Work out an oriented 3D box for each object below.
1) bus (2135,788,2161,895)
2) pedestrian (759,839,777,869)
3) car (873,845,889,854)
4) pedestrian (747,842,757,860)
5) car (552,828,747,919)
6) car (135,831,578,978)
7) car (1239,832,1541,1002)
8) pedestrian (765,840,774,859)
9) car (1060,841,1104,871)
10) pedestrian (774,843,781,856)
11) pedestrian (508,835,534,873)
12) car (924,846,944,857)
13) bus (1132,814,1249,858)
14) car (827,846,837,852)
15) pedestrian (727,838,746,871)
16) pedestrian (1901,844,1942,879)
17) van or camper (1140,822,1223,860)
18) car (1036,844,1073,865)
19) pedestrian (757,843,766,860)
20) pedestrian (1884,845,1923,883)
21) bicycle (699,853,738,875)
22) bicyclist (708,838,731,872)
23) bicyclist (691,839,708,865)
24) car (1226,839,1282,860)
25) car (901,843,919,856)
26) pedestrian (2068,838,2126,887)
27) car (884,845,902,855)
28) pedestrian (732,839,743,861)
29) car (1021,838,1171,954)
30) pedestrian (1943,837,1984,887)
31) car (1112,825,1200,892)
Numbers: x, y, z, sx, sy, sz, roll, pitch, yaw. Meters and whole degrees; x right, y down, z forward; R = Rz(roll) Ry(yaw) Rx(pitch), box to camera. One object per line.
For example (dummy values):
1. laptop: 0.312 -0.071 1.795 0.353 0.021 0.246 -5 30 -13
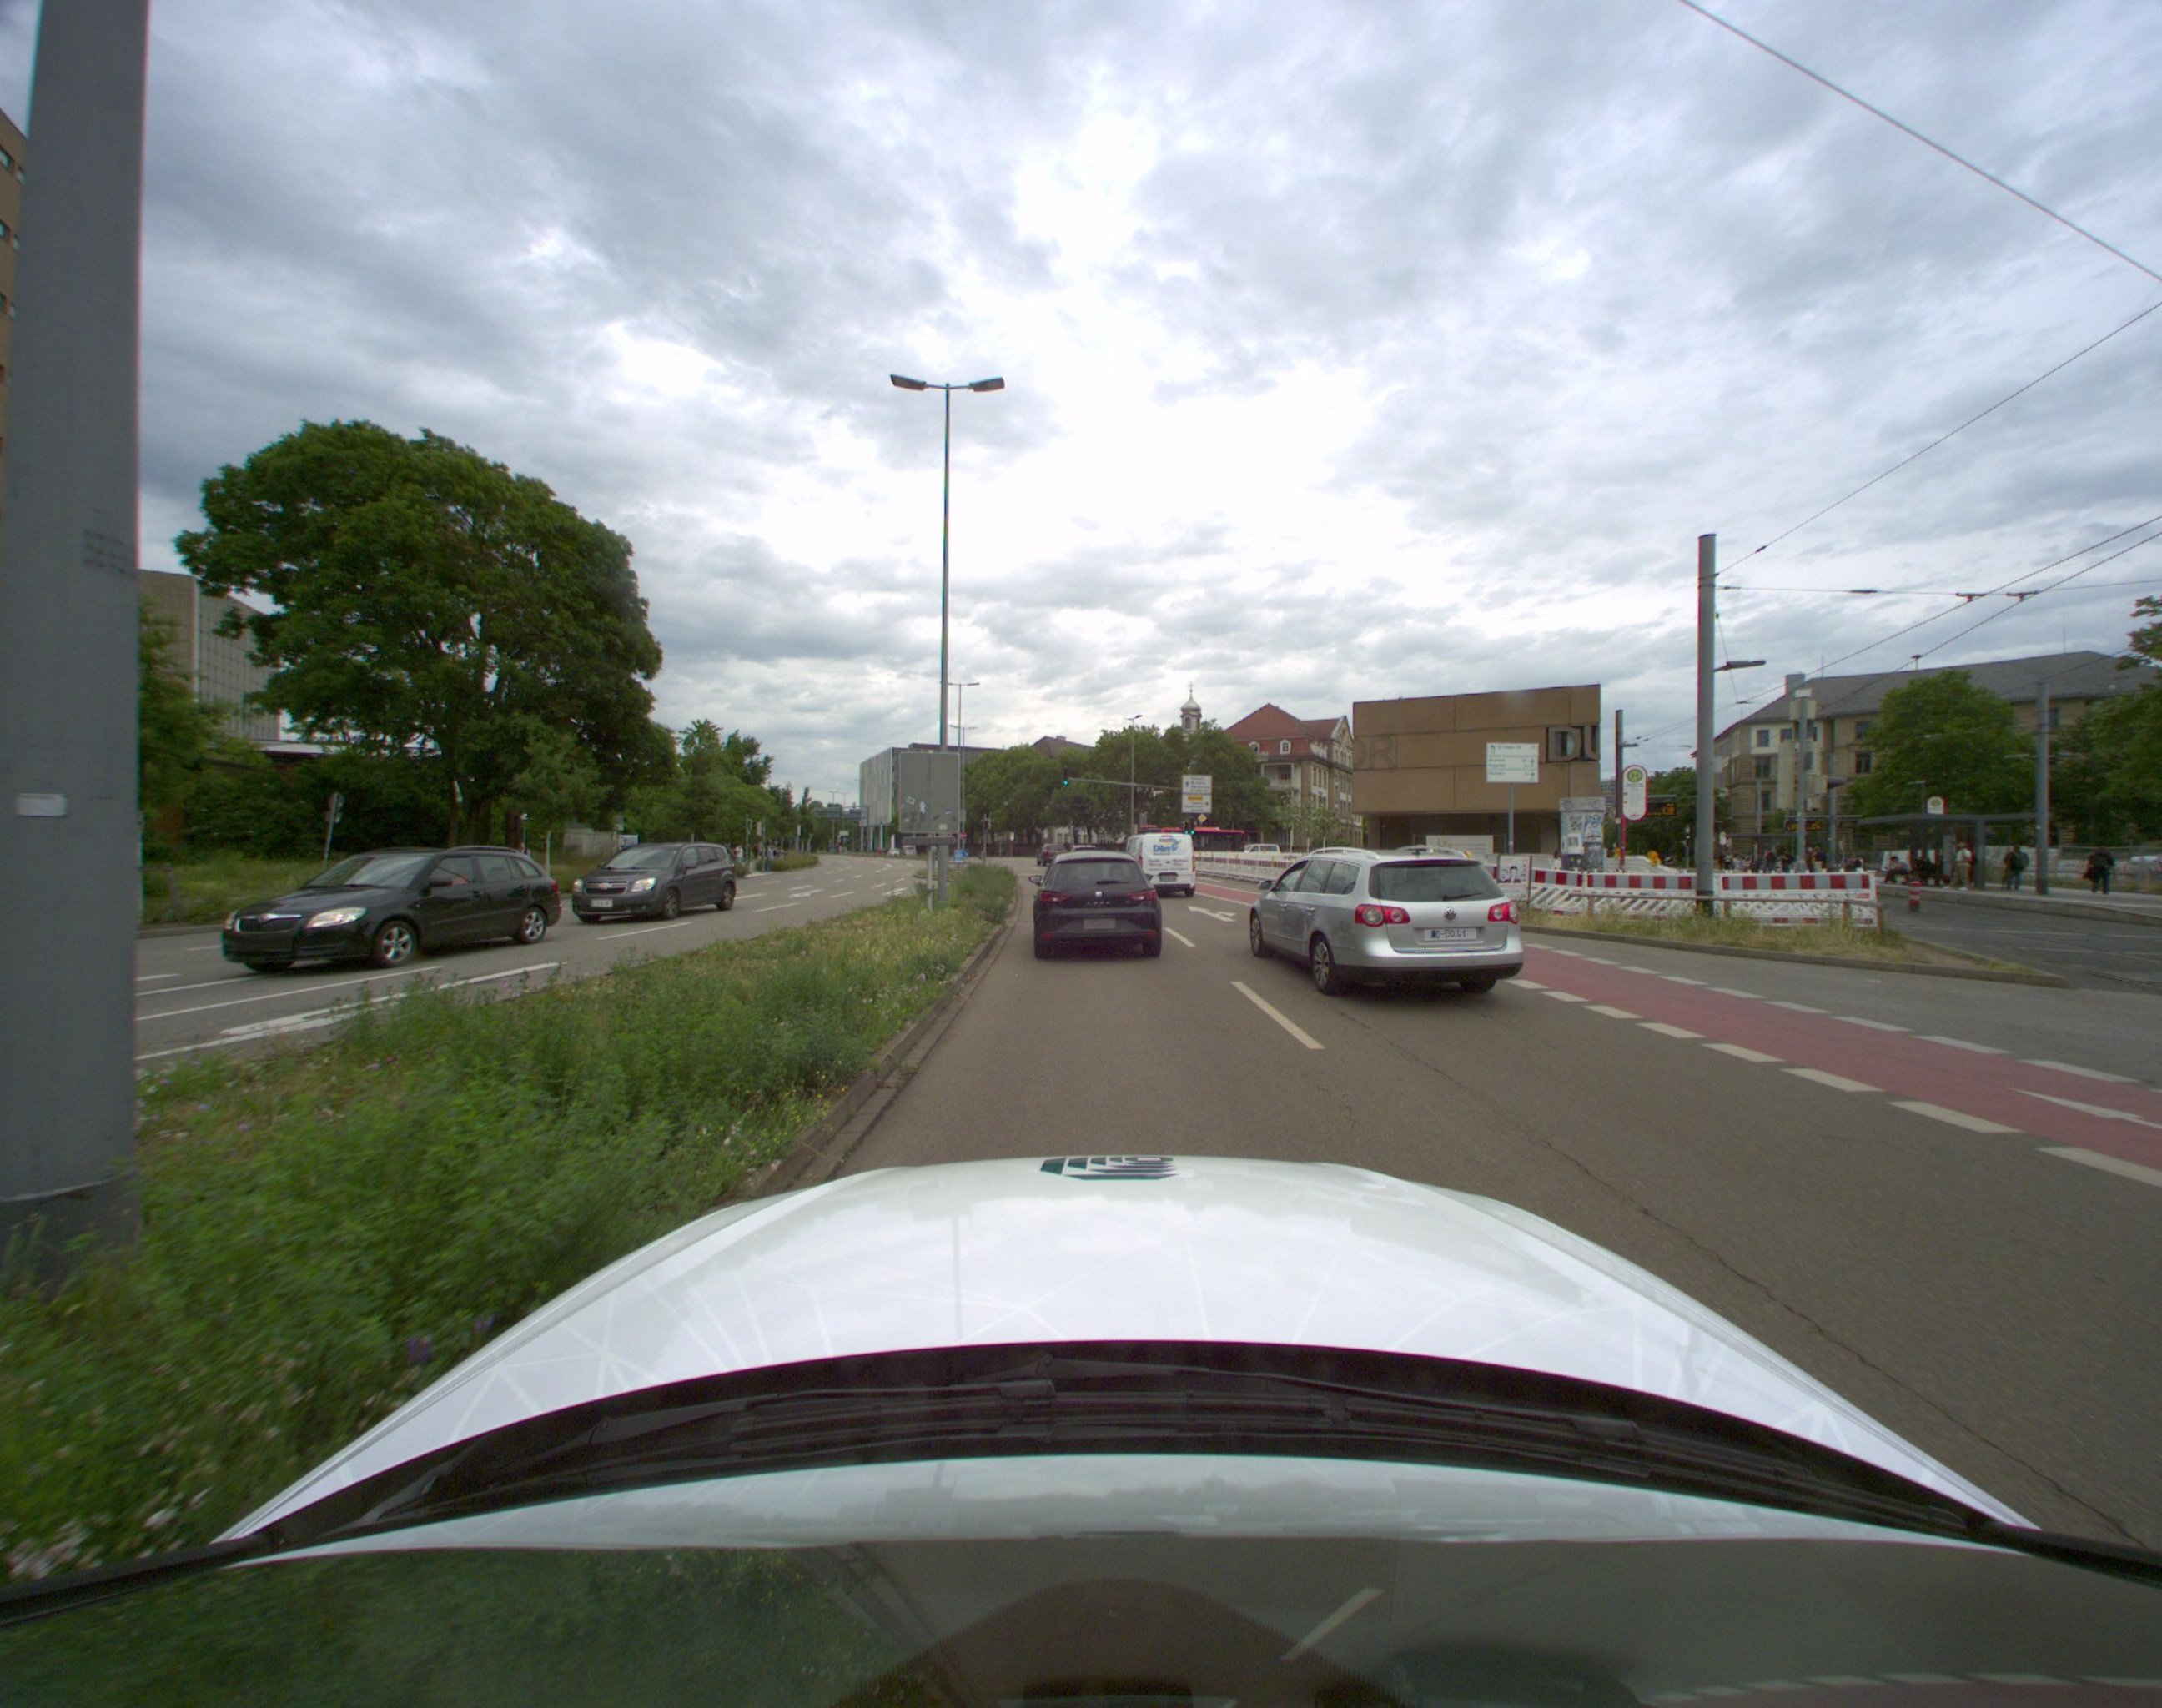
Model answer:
1. bus: 31.537 -0.352 19.661 2.987 3.267 13.125 0 0 32
2. pedestrian: -19.334 -0.012 50.358 0.891 1.842 0.666 0 0 -4
3. car: -37.031 -0.776 150.821 2.005 1.681 3.976 0 0 -27
4. pedestrian: -34.129 -0.308 84.470 0.755 1.765 0.902 0 0 -13
5. car: -9.319 0.362 18.112 1.865 1.725 4.710 -1 0 -1
6. car: -9.159 0.522 10.979 1.864 1.508 4.479 -2 0 1
7. car: 3.213 0.535 9.581 1.715 1.482 4.626 -1 1 -1
8. pedestrian: -33.735 -0.511 88.151 0.755 2.013 1.042 0 0 -13
9. car: 0.011 0.069 45.915 1.857 1.600 4.192 0 0 -9
10. pedestrian: -41.522 -0.617 111.509 0.921 1.779 1.057 0 0 -21
11. pedestrian: -23.051 -0.014 33.558 0.560 1.541 0.754 0 0 -4
12. car: -21.961 -0.401 121.599 1.927 1.684 3.966 0 1 -26
13. bus: 9.206 -1.335 66.596 3.029 3.297 12.455 1 0 41
14. car: -56.910 -1.169 186.267 1.719 1.265 3.313 0 0 -24
15. pedestrian: -19.869 0.020 46.923 0.755 1.842 0.765 -1 0 -4
16. pedestrian: 34.071 0.290 33.030 1.008 1.402 1.014 0 0 35
17. van or camper: 9.169 -1.110 74.198 7.164 3.332 2.853 0 -1 -25
18. car: -2.032 0.020 61.305 1.995 1.566 4.187 0 0 -13
19. pedestrian: -33.260 -0.236 84.783 0.755 1.712 1.042 0 0 -13
20. pedestrian: 35.093 0.415 34.764 1.008 1.575 1.014 0 0 34
21. bicycle: -19.839 0.514 44.623 0.782 1.159 1.918 0 0 26
22. bicyclist: -19.826 0.044 44.683 0.783 1.844 0.839 0 0 26
23. bicyclist: -23.123 -0.117 49.378 0.714 1.570 0.711 0 0 -5
24. car: 16.533 -0.431 77.644 5.013 1.865 1.983 0 -3 -25
25. car: -26.647 -0.759 126.654 2.003 2.013 3.967 0 0 -25
26. pedestrian: 35.032 0.287 28.100 0.994 1.645 1.027 0 0 35
27. car: -31.686 -0.648 137.171 2.004 1.640 3.965 0 0 -27
28. pedestrian: -31.158 -0.341 73.875 0.755 2.013 1.042 0 0 -13
29. car: 0.061 0.527 12.351 1.744 1.464 3.990 0 0 -7
30. pedestrian: 32.384 0.280 29.901 0.816 1.808 1.027 0 0 35
31. car: 2.354 0.120 26.969 1.991 2.019 5.021 0 0 -6
